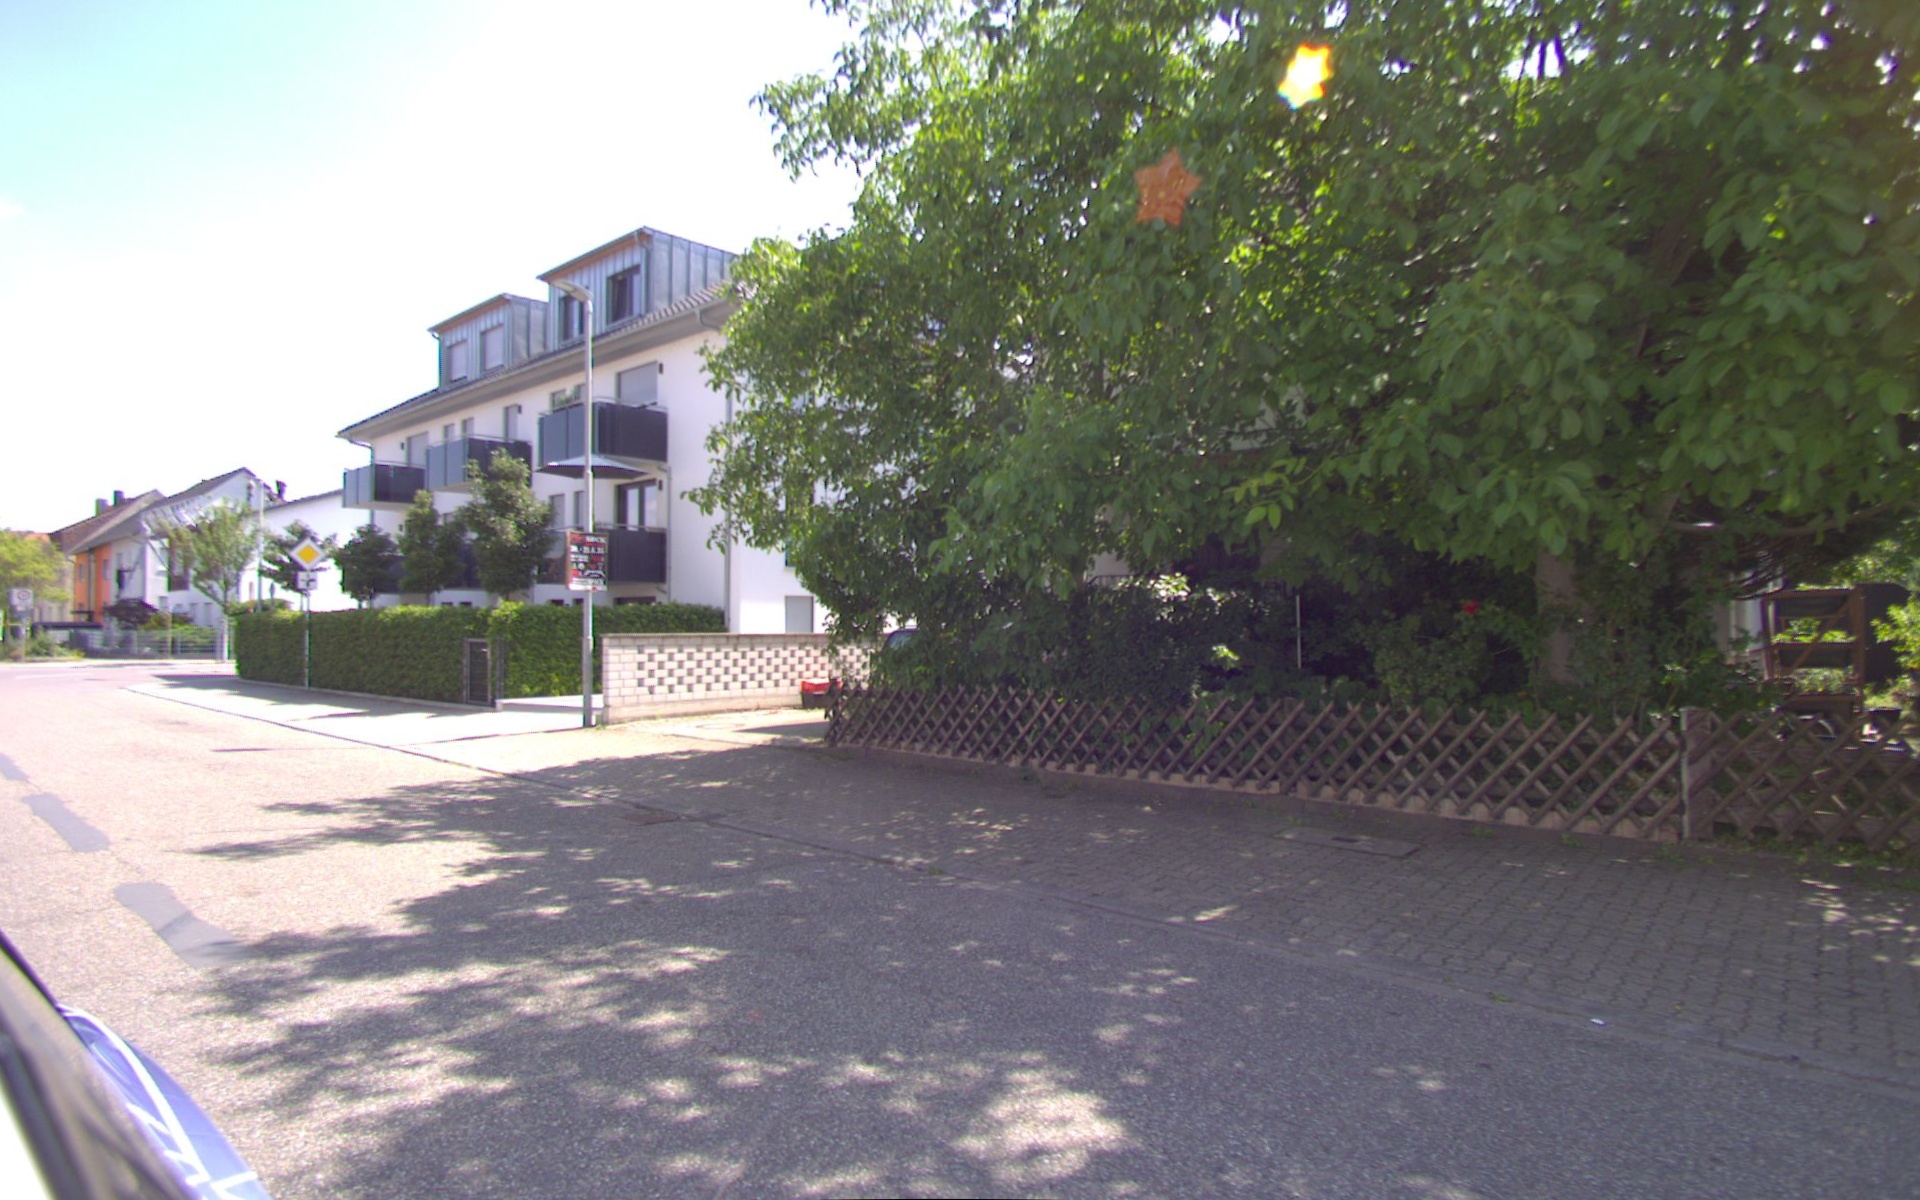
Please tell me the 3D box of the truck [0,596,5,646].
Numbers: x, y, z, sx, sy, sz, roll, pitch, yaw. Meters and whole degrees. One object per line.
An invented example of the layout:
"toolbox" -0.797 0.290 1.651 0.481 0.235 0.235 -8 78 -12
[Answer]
"truck" -47.556 1.438 47.837 7.029 3.271 2.413 -1 -6 39

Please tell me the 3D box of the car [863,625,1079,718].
"car" 0.284 1.235 18.392 1.794 1.503 3.870 -3 -4 43
